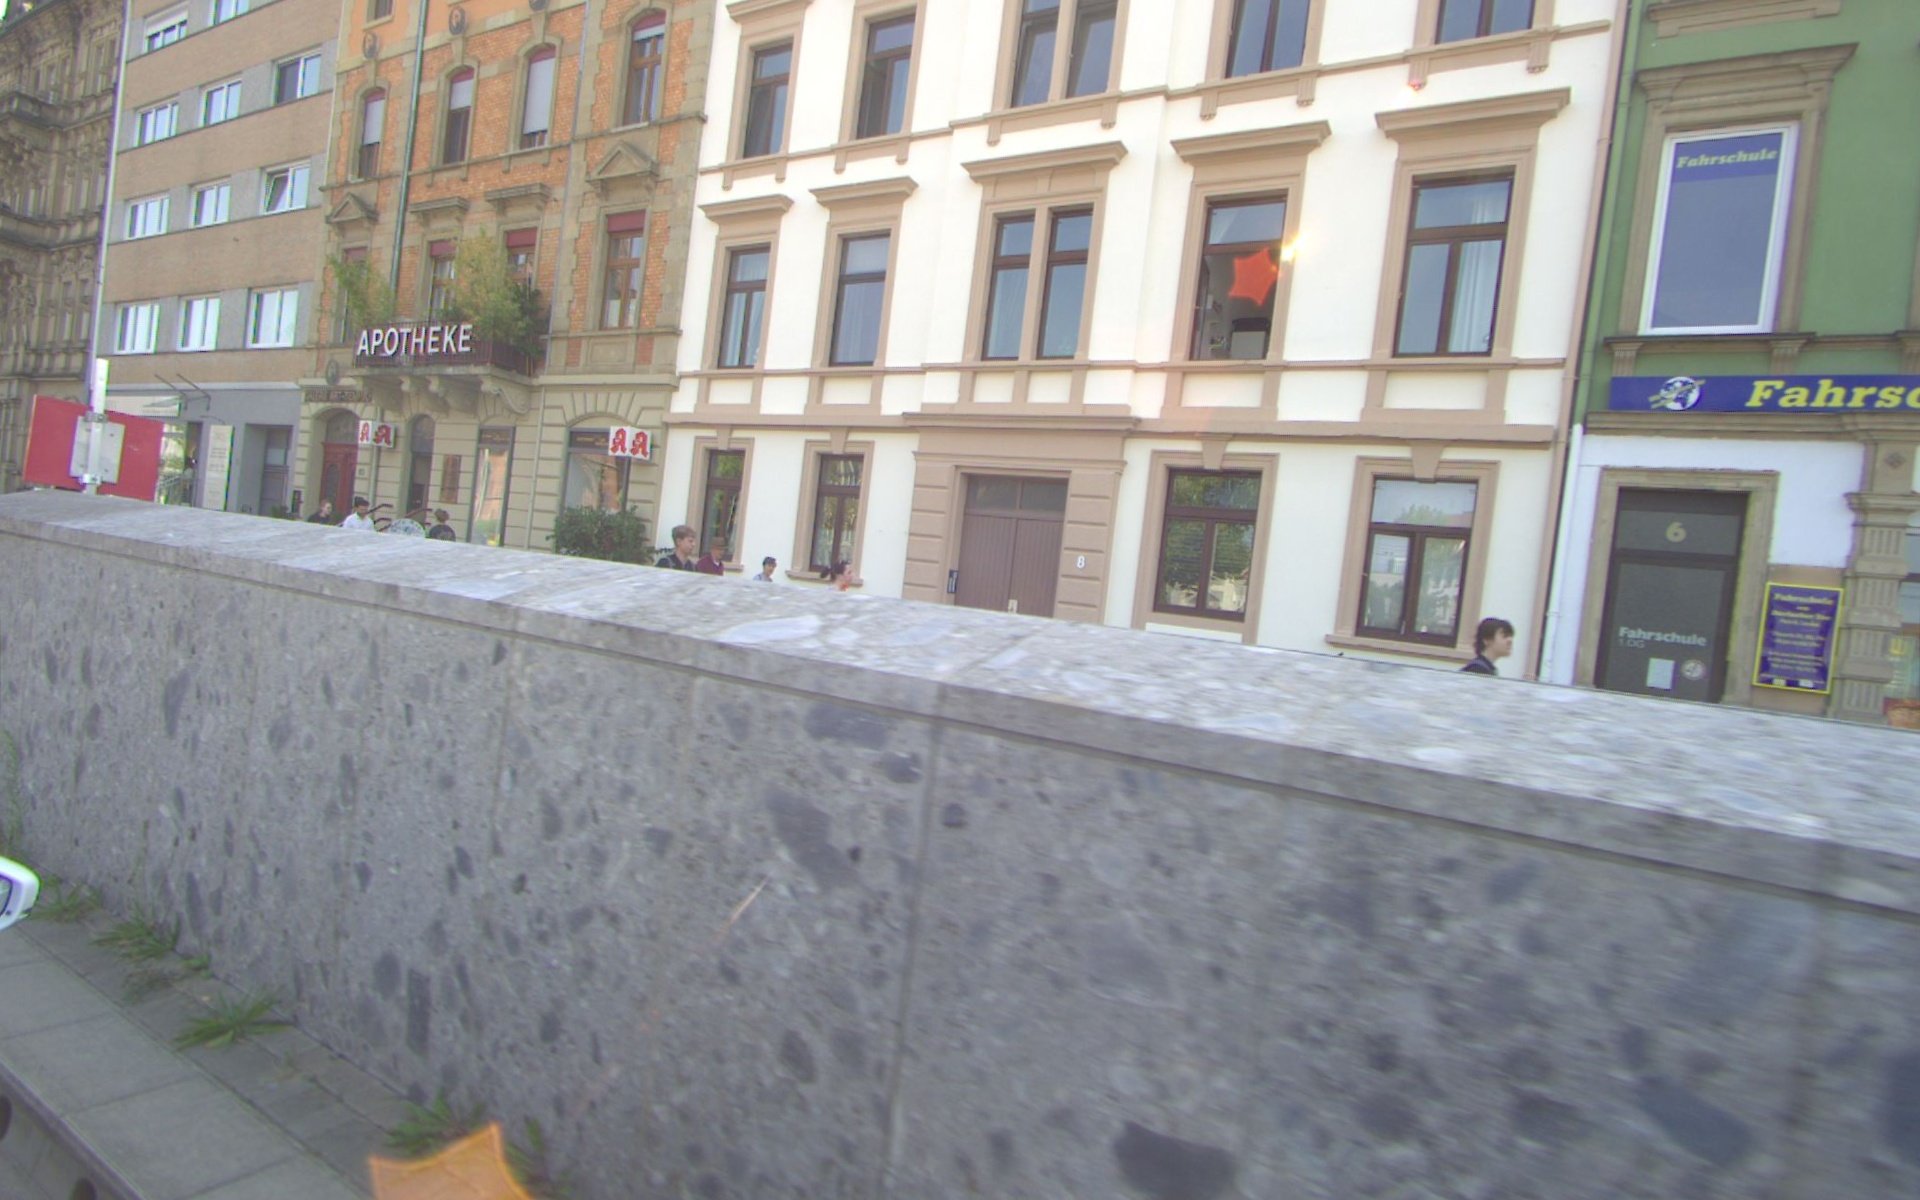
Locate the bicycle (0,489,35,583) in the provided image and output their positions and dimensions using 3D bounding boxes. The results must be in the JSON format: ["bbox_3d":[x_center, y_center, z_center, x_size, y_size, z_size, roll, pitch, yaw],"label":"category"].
[{"bbox_3d":[-13.528,-0.951,13.355,0.634,1.230,1.674,7,0,36],"label":"bicycle"}]

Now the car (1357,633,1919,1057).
[{"bbox_3d":[4.101,1.163,5.057,3.559,1.459,1.633,8,1,31],"label":"car"}]

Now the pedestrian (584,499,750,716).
[{"bbox_3d":[-2.617,0.060,8.986,0.956,1.752,0.849,10,4,38],"label":"pedestrian"}]

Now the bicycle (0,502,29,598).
[{"bbox_3d":[-11.564,-0.650,11.253,0.464,1.085,1.539,9,0,31],"label":"bicycle"}]

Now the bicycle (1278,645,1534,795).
[{"bbox_3d":[4.921,1.287,11.230,2.430,1.161,0.480,10,3,33],"label":"bicycle"}]

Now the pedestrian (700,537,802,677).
[{"bbox_3d":[-2.910,0.107,13.999,1.000,1.796,0.684,9,2,31],"label":"pedestrian"}]

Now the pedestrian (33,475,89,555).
[{"bbox_3d":[-20.557,-1.933,22.995,0.776,1.706,0.644,7,1,31],"label":"pedestrian"}]

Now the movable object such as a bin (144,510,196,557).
[{"bbox_3d":[-20.010,-1.672,25.502,0.752,1.061,0.646,6,1,-12],"label":"movable object such as a bin"}]

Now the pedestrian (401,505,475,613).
[{"bbox_3d":[-9.527,-0.741,18.383,0.674,1.871,0.842,7,3,22],"label":"pedestrian"}]

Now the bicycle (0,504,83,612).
[{"bbox_3d":[-10.500,-0.503,10.568,0.359,1.085,1.838,9,0,31],"label":"bicycle"}]

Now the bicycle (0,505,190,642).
[{"bbox_3d":[-8.872,-0.265,10.112,1.541,1.133,0.689,9,0,-17],"label":"bicycle"}]

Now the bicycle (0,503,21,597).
[{"bbox_3d":[-12.063,-0.685,11.564,0.633,1.085,1.660,9,0,31],"label":"bicycle"}]

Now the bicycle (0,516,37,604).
[{"bbox_3d":[-11.234,-0.512,11.020,0.359,0.964,1.540,9,0,31],"label":"bicycle"}]

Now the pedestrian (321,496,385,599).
[{"bbox_3d":[-11.257,-0.972,18.664,0.865,1.819,0.599,7,4,31],"label":"pedestrian"}]

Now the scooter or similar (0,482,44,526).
[{"bbox_3d":[-29.004,-2.961,30.925,1.279,1.211,0.514,7,1,12],"label":"scooter or similar"}]

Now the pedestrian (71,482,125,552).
[{"bbox_3d":[-20.190,-1.940,23.572,0.776,1.512,0.644,7,1,31],"label":"pedestrian"}]

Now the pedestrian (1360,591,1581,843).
[{"bbox_3d":[3.604,0.794,7.191,0.953,1.602,0.852,6,1,-2],"label":"pedestrian"}]

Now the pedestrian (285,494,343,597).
[{"bbox_3d":[-11.647,-0.978,18.141,0.667,1.774,0.577,7,4,31],"label":"pedestrian"}]

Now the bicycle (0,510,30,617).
[{"bbox_3d":[-10.345,-0.439,9.965,0.359,1.085,1.539,9,0,31],"label":"bicycle"}]

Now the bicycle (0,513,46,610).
[{"bbox_3d":[-10.901,-0.477,10.768,0.359,1.029,1.540,9,0,31],"label":"bicycle"}]

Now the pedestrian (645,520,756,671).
[{"bbox_3d":[-3.353,-0.055,12.997,1.000,1.796,0.684,9,2,31],"label":"pedestrian"}]

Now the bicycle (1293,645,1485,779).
[{"bbox_3d":[4.768,1.213,11.252,1.816,1.199,0.458,7,1,31],"label":"bicycle"}]

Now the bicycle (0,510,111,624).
[{"bbox_3d":[-9.868,-0.381,10.001,0.375,1.085,2.126,9,0,27],"label":"bicycle"}]

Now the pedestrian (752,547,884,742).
[{"bbox_3d":[-1.276,0.391,9.219,0.953,1.602,0.852,6,1,-2],"label":"pedestrian"}]
